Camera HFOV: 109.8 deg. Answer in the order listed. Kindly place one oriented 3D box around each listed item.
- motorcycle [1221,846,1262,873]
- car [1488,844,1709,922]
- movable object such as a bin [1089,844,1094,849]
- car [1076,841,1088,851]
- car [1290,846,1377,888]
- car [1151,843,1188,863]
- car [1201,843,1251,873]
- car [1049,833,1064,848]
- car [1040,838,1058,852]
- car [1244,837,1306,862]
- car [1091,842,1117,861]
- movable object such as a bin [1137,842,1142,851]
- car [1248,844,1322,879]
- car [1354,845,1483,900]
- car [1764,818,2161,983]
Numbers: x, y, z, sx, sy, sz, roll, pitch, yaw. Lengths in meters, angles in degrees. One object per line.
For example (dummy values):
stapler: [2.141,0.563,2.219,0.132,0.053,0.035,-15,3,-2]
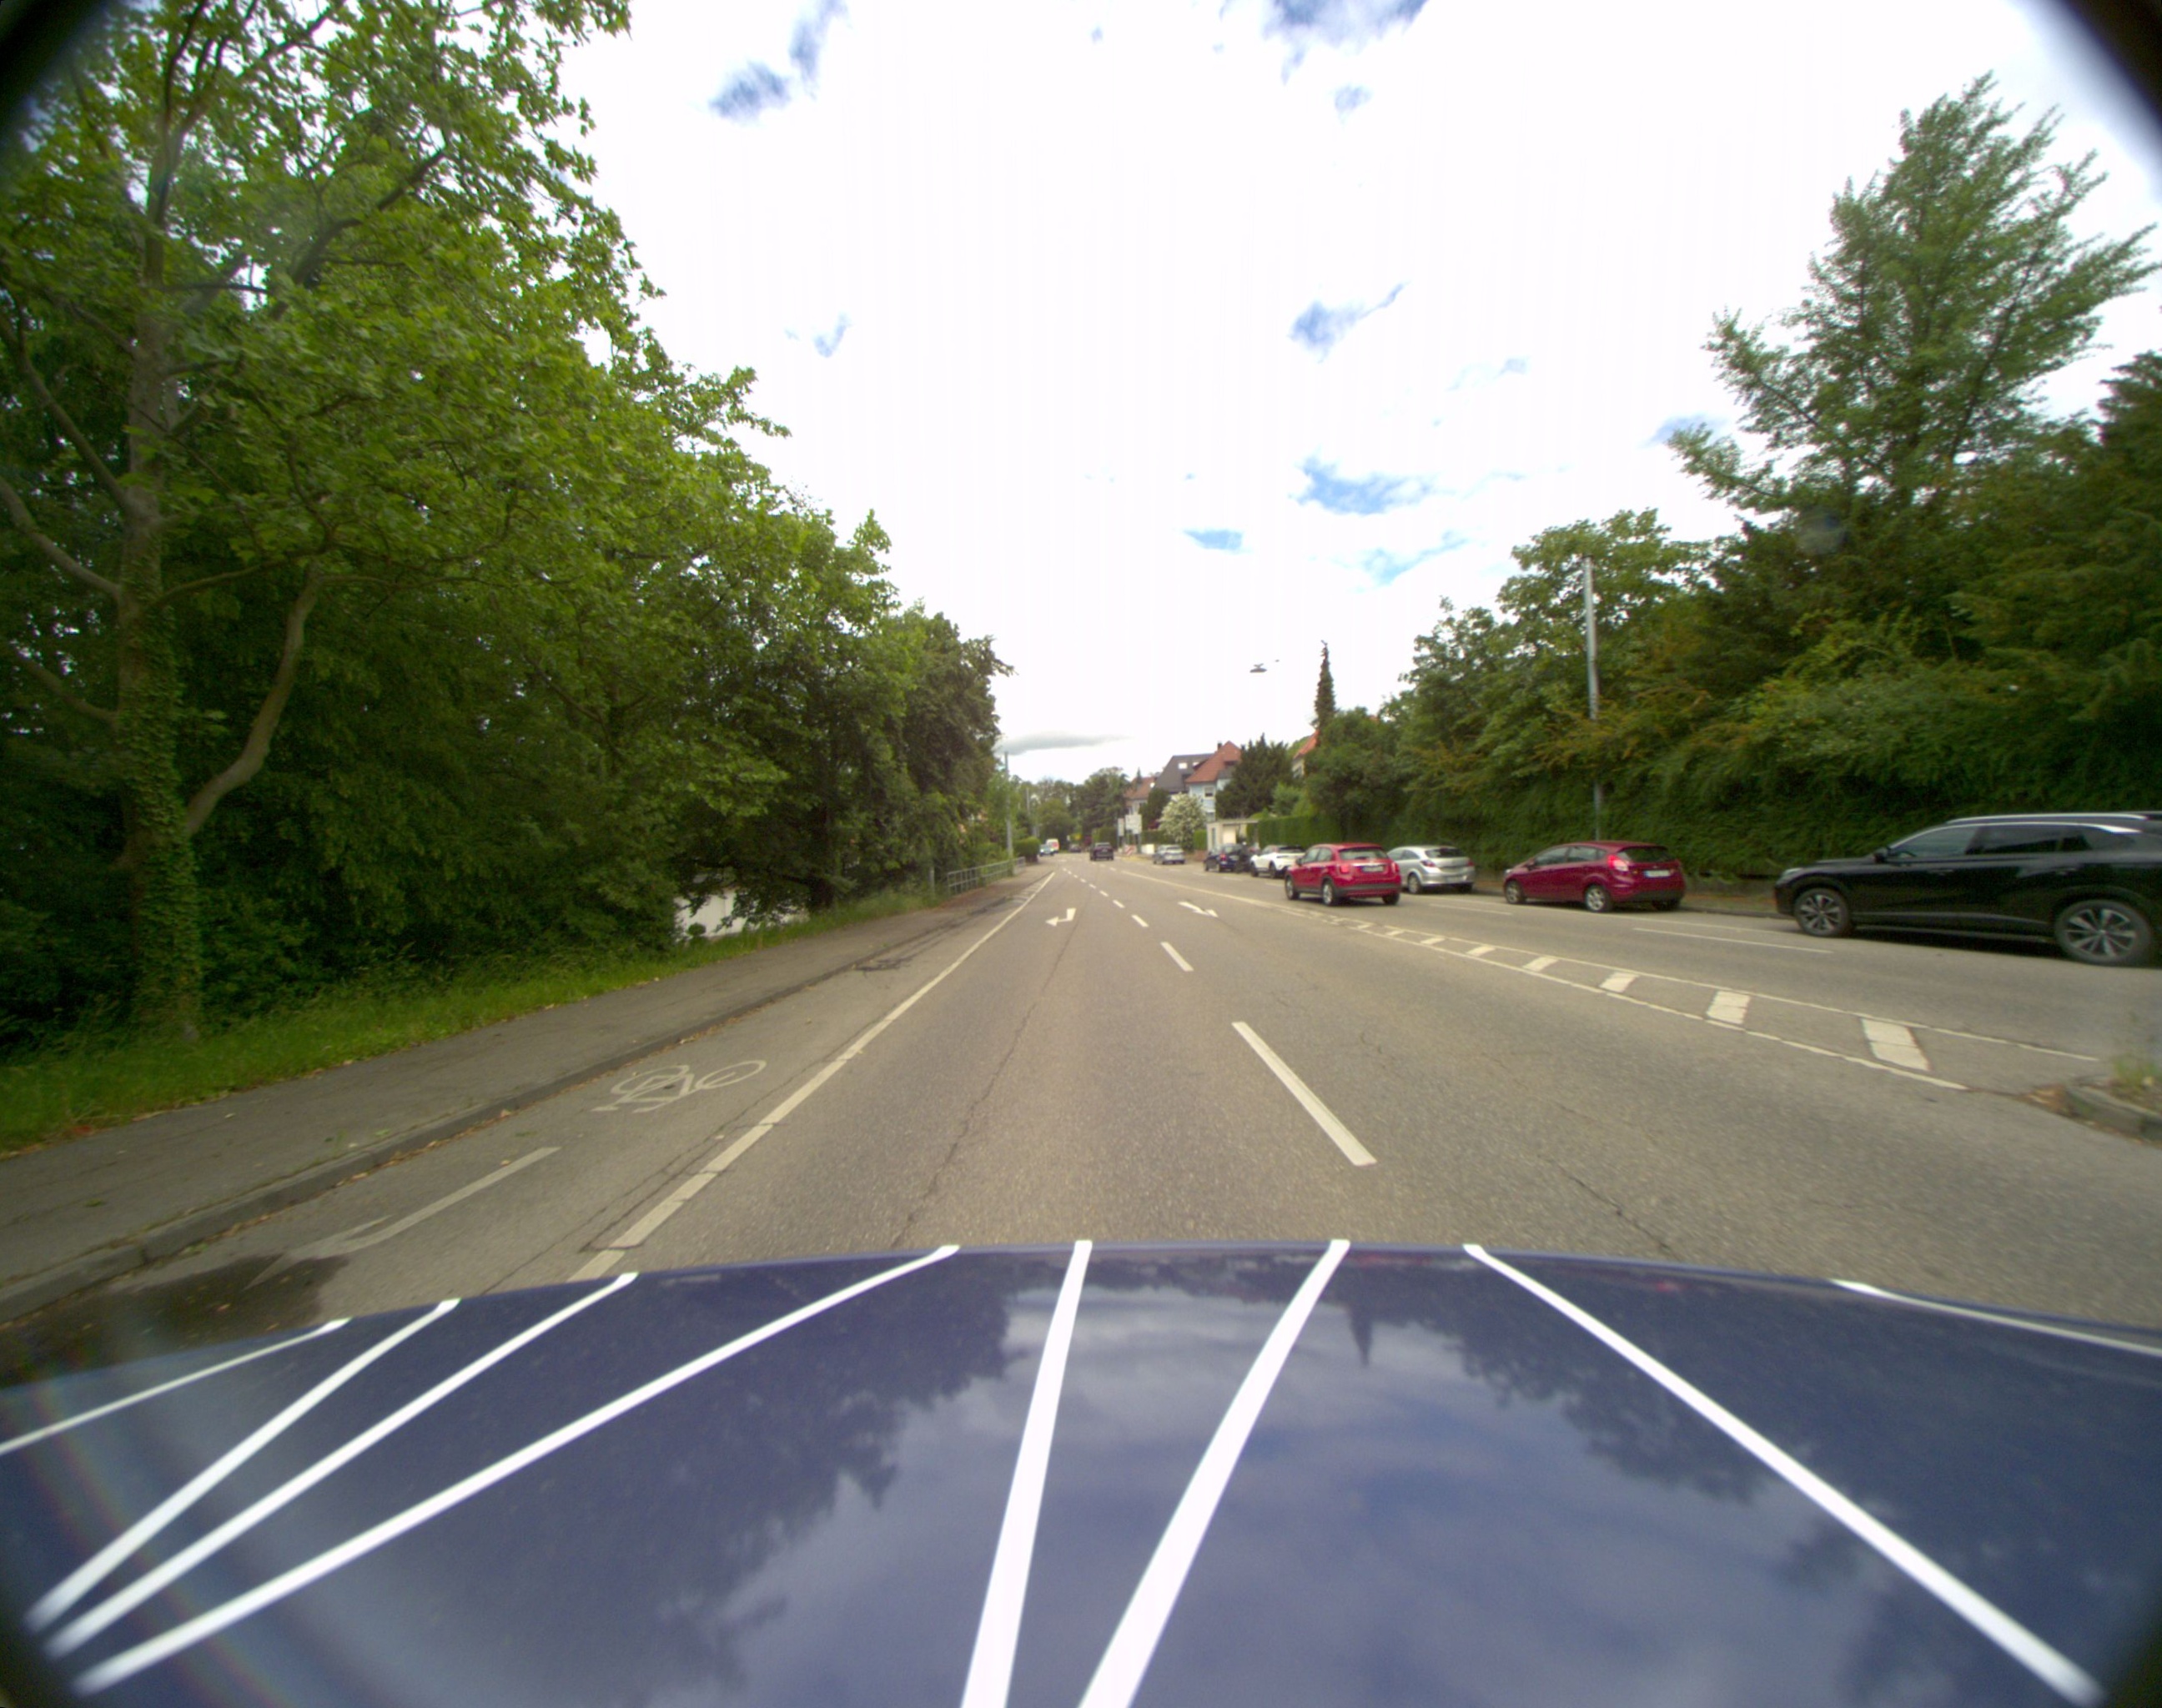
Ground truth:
motorcycle: [8.313,0.313,39.476,0.890,1.347,2.302,-1,-1,-22]
car: [11.020,0.532,16.586,1.785,1.430,3.997,-2,1,-7]
movable object such as a bin: [1.907,-1.367,137.786,0.479,1.029,0.717,-3,1,22]
car: [0.135,-1.308,122.244,1.738,1.545,4.447,-2,1,2]
car: [9.703,0.439,29.490,1.674,1.470,3.908,-2,1,-7]
car: [6.646,-0.096,57.483,1.815,1.447,4.410,0,1,-7]
car: [8.147,0.182,43.060,1.684,1.547,3.968,-1,2,-6]
car: [-4.330,-2.349,133.351,2.118,2.484,6.119,-3,1,-6]
car: [-4.479,-1.247,106.365,1.864,1.855,4.607,-3,0,-10]
car: [12.642,-0.307,49.645,3.596,1.383,1.849,-3,1,3]
car: [2.140,-0.279,70.976,1.848,1.638,4.209,-3,2,-6]
movable object such as a bin: [6.744,-0.836,87.329,0.509,0.968,0.540,-3,2,-3]
car: [9.229,0.299,34.788,1.895,1.486,4.024,-1,1,-7]
car: [10.265,0.482,23.515,1.674,1.480,4.428,-2,1,-6]
car: [11.619,0.421,9.418,2.000,1.634,4.462,-2,1,-7]
